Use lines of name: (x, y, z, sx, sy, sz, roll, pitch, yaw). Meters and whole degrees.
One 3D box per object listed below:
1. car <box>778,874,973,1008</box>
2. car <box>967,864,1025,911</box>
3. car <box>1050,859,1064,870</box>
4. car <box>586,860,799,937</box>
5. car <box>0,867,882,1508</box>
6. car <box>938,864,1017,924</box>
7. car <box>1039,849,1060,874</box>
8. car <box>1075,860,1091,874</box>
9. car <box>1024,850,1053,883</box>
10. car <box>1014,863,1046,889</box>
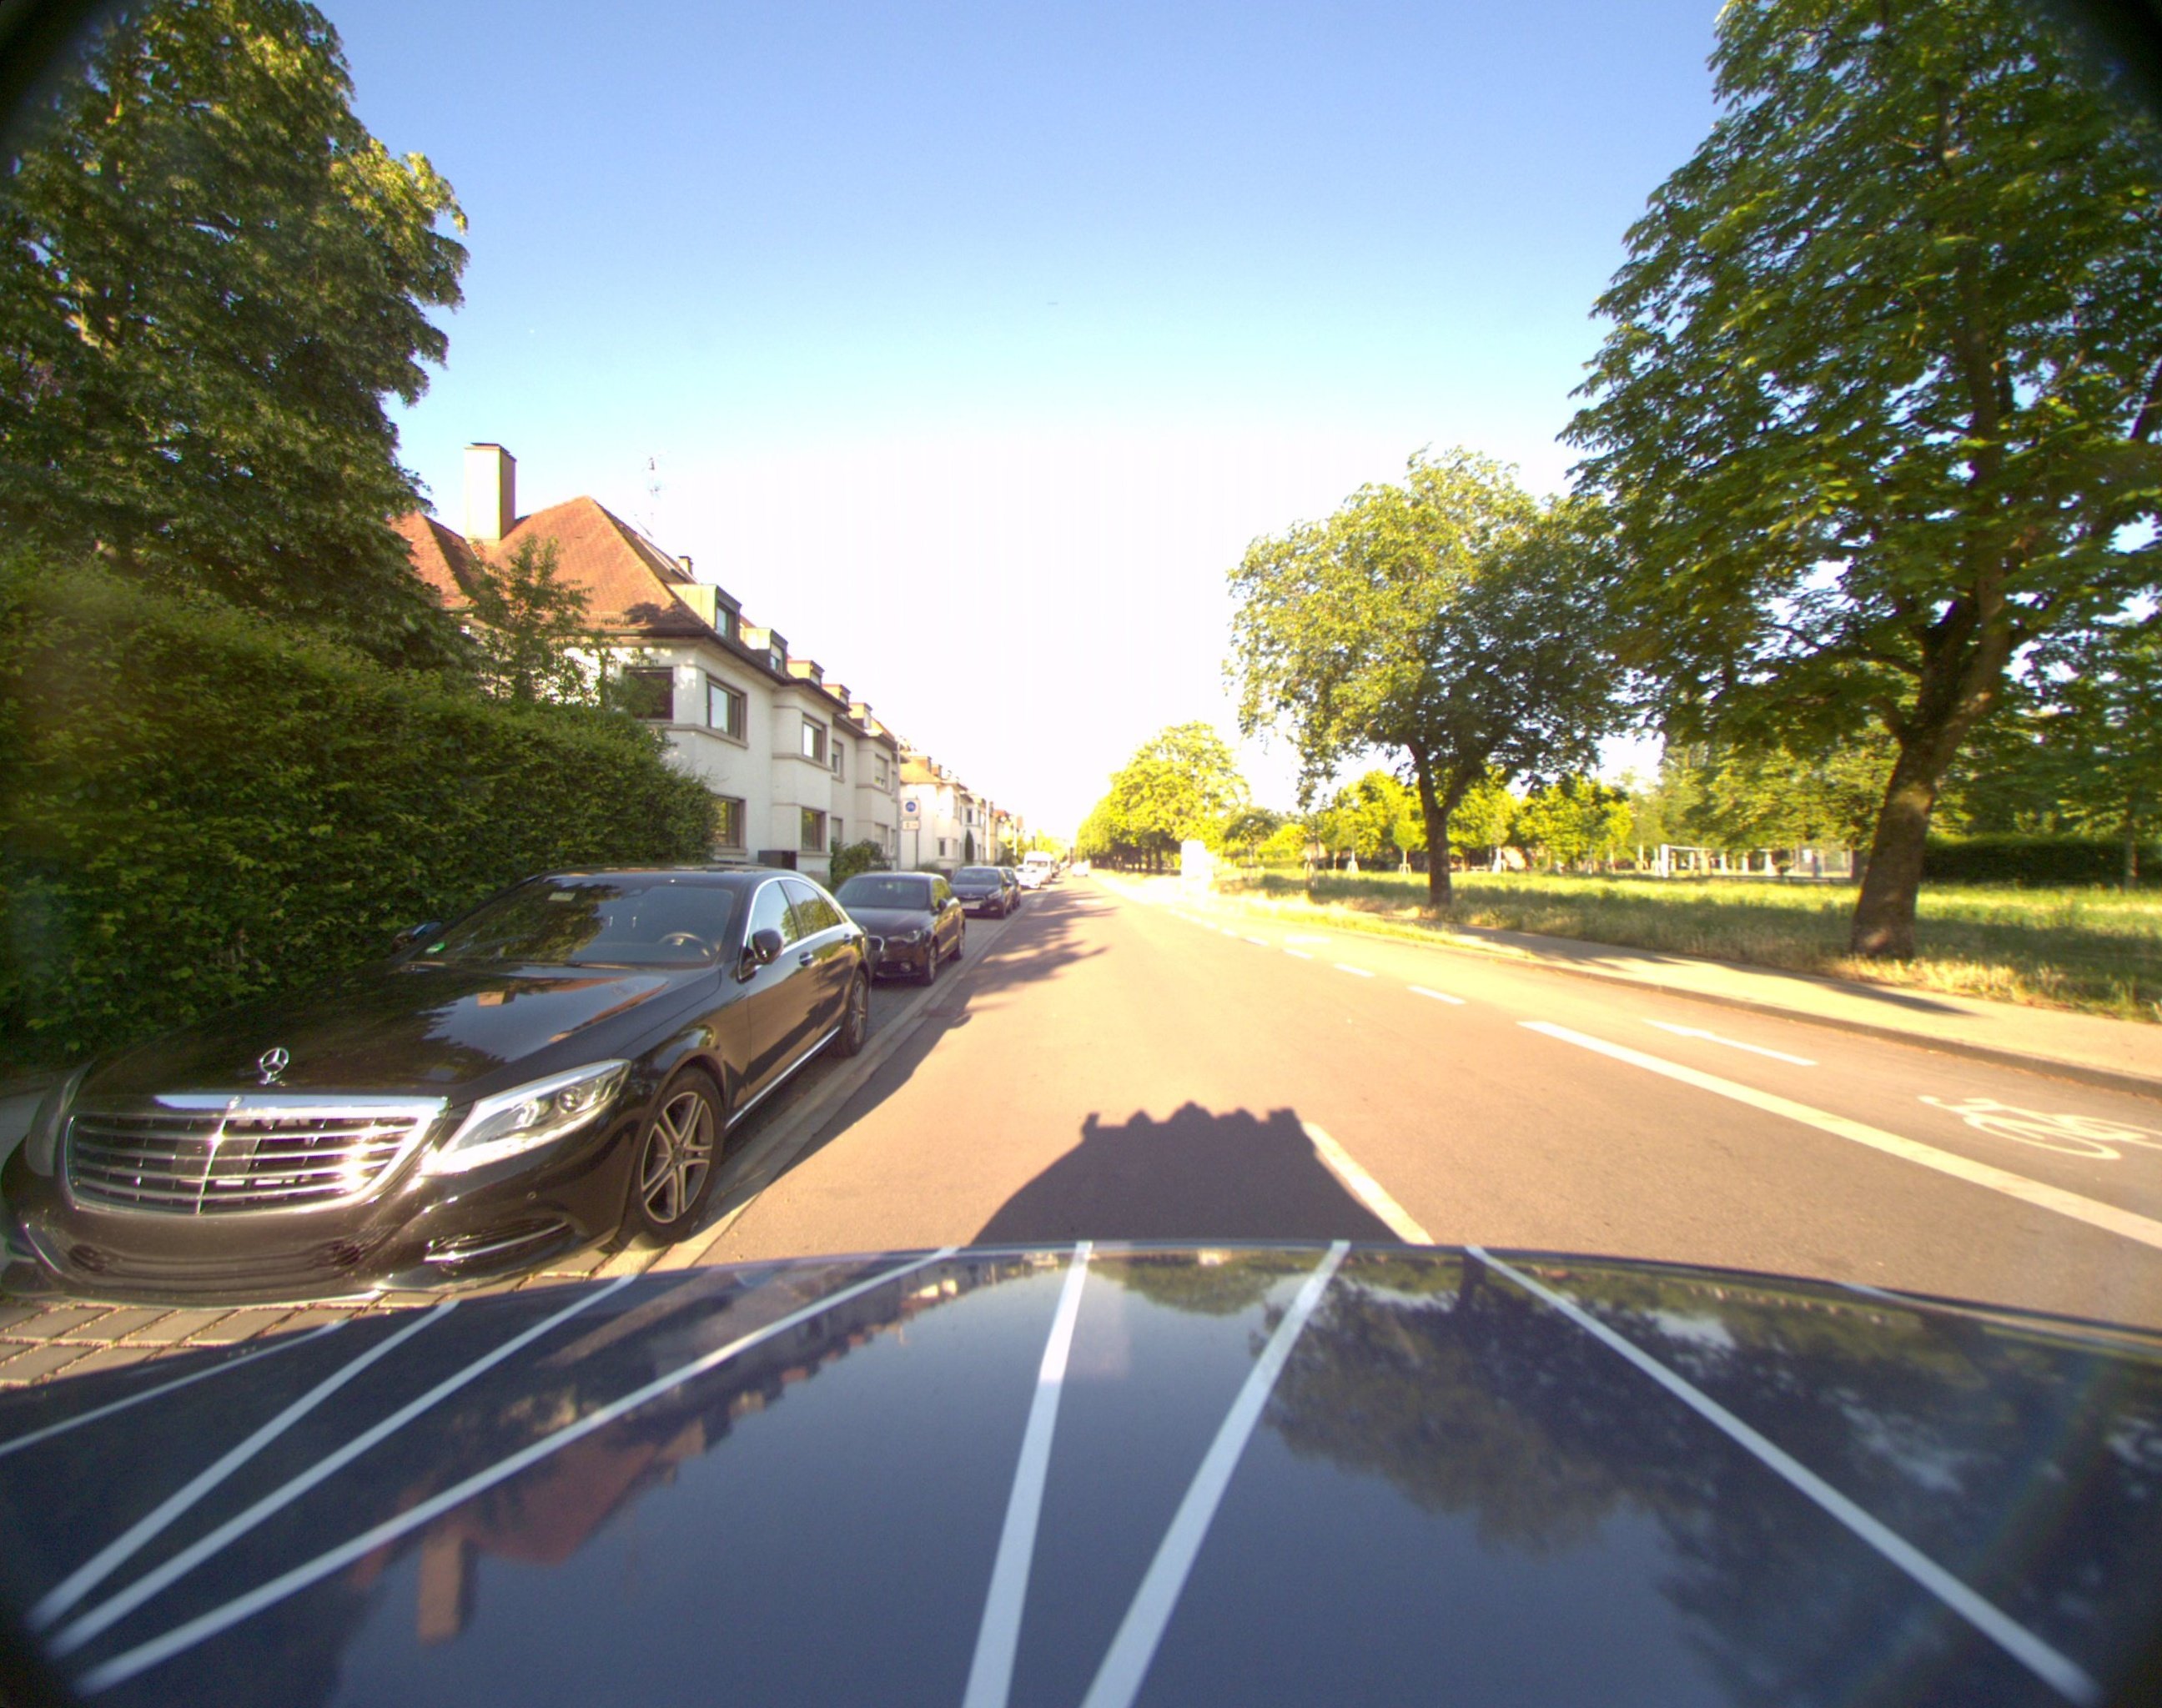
car: (-2.652, 1.055, 10.719, 1.645, 1.419, 3.936, 2, 0, 0)
car: (-3.005, 1.157, 27.570, 1.723, 1.463, 3.983, 2, 0, -2)
car: (-3.667, 1.597, 116.665, 1.974, 1.630, 4.000, 2, -1, -1)
car: (-8.225, 0.928, 16.382, 3.644, 1.487, 1.780, 2, 0, -5)
car: (-2.626, 0.895, 4.349, 1.864, 1.533, 4.872, 1, 0, -3)
car: (-2.923, 1.079, 22.238, 1.751, 1.466, 4.255, 3, 0, -2)
car: (-3.694, 0.894, 90.052, 2.134, 2.837, 5.987, -1, 0, -1)
car: (0.189, 1.598, 96.395, 1.896, 1.667, 4.424, -1, 0, -1)
car: (-3.299, 0.955, 59.738, 2.135, 2.503, 5.507, 1, 0, -2)
car: (-3.098, 1.328, 46.696, 1.787, 1.498, 4.233, -1, 0, -2)
